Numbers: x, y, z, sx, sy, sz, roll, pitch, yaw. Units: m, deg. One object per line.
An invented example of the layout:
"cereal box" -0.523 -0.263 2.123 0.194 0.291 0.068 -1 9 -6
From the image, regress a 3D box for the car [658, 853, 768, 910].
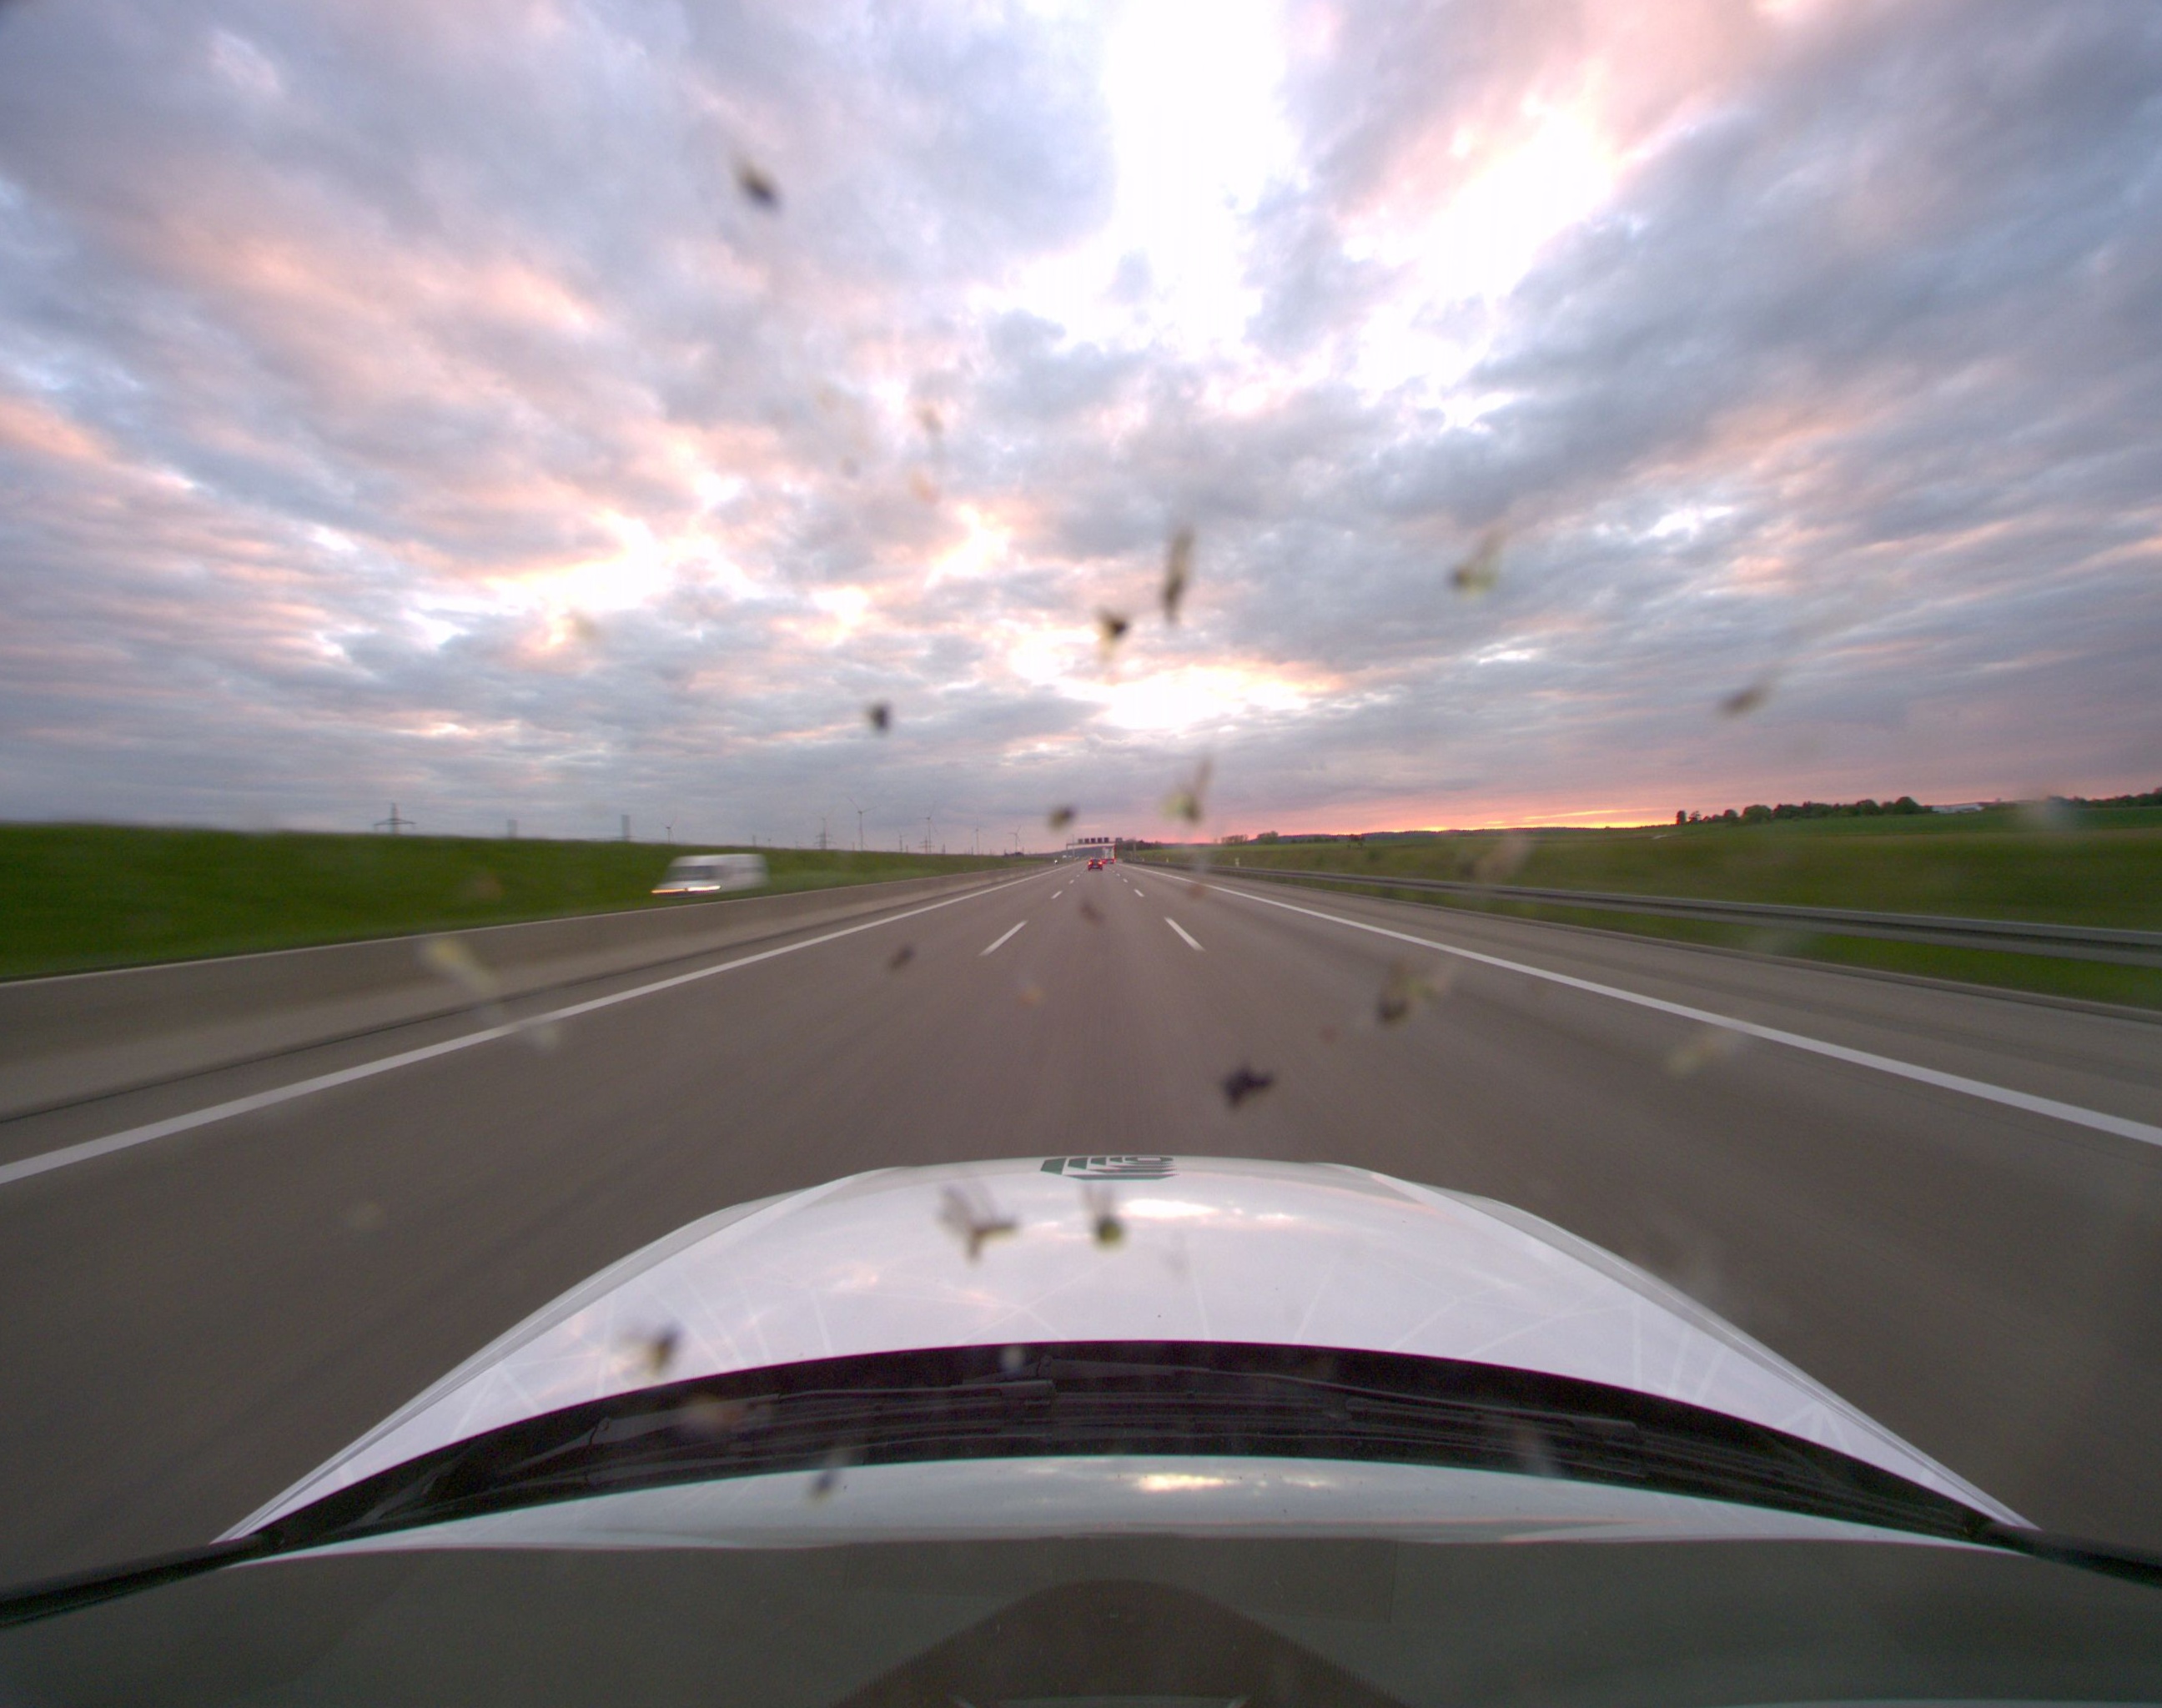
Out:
"car" -18.331 1.275 41.095 1.986 2.546 7.378 -2 0 1

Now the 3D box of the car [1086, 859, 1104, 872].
"car" 1.681 1.388 98.130 1.980 1.429 4.002 -3 0 2

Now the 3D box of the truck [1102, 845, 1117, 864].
"truck" 7.277 0.162 208.573 3.662 4.565 10.982 -1 0 1
